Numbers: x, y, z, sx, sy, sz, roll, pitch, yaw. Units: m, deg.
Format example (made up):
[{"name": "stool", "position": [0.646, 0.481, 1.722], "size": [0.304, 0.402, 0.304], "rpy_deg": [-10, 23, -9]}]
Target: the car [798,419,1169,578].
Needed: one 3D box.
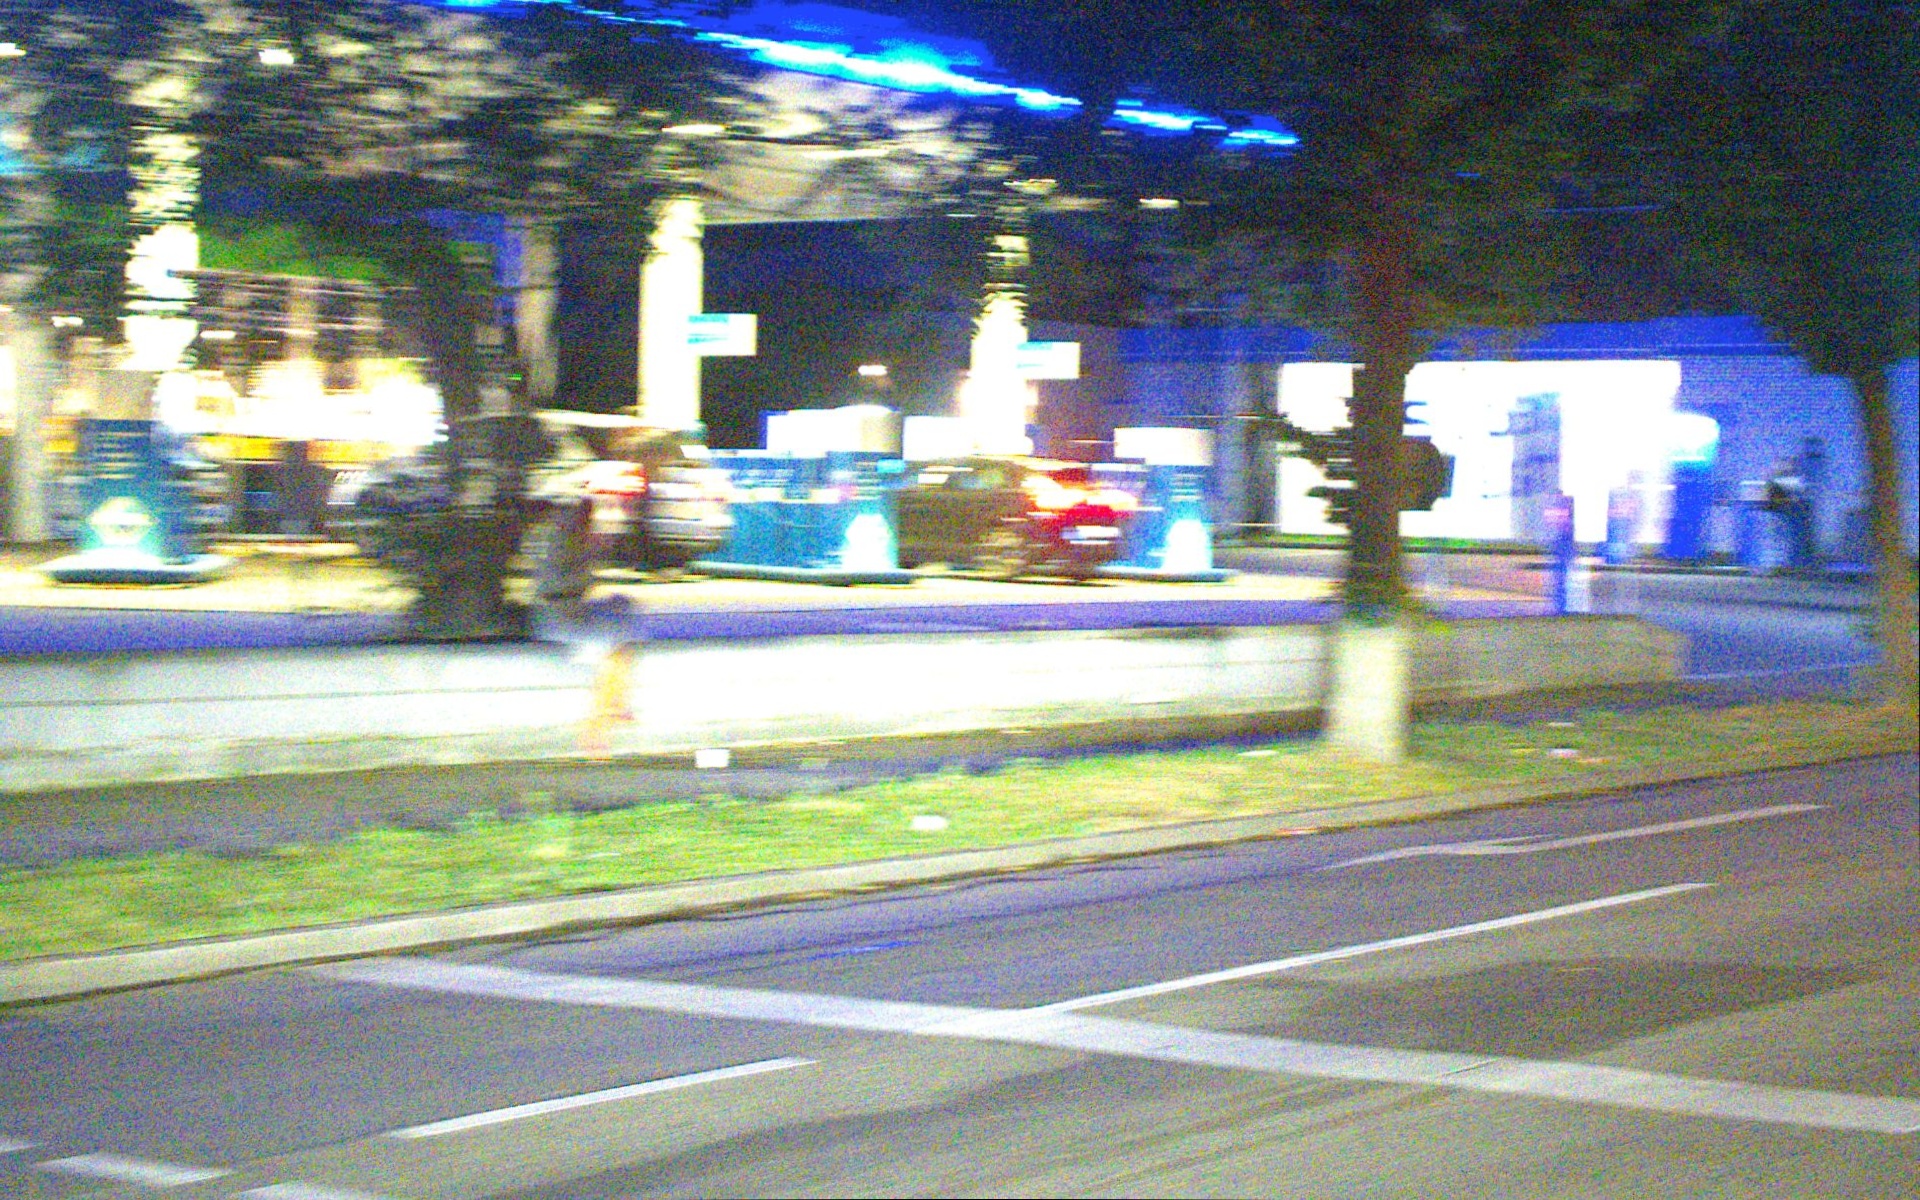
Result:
[{"name": "car", "position": [0.263, -1.238, 41.612], "size": [3.995, 1.657, 1.996], "rpy_deg": [5, 4, 35]}]

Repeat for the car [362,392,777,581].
[{"name": "car", "position": [-4.233, -1.236, 36.929], "size": [4.247, 1.763, 1.995], "rpy_deg": [6, 4, 40]}]
